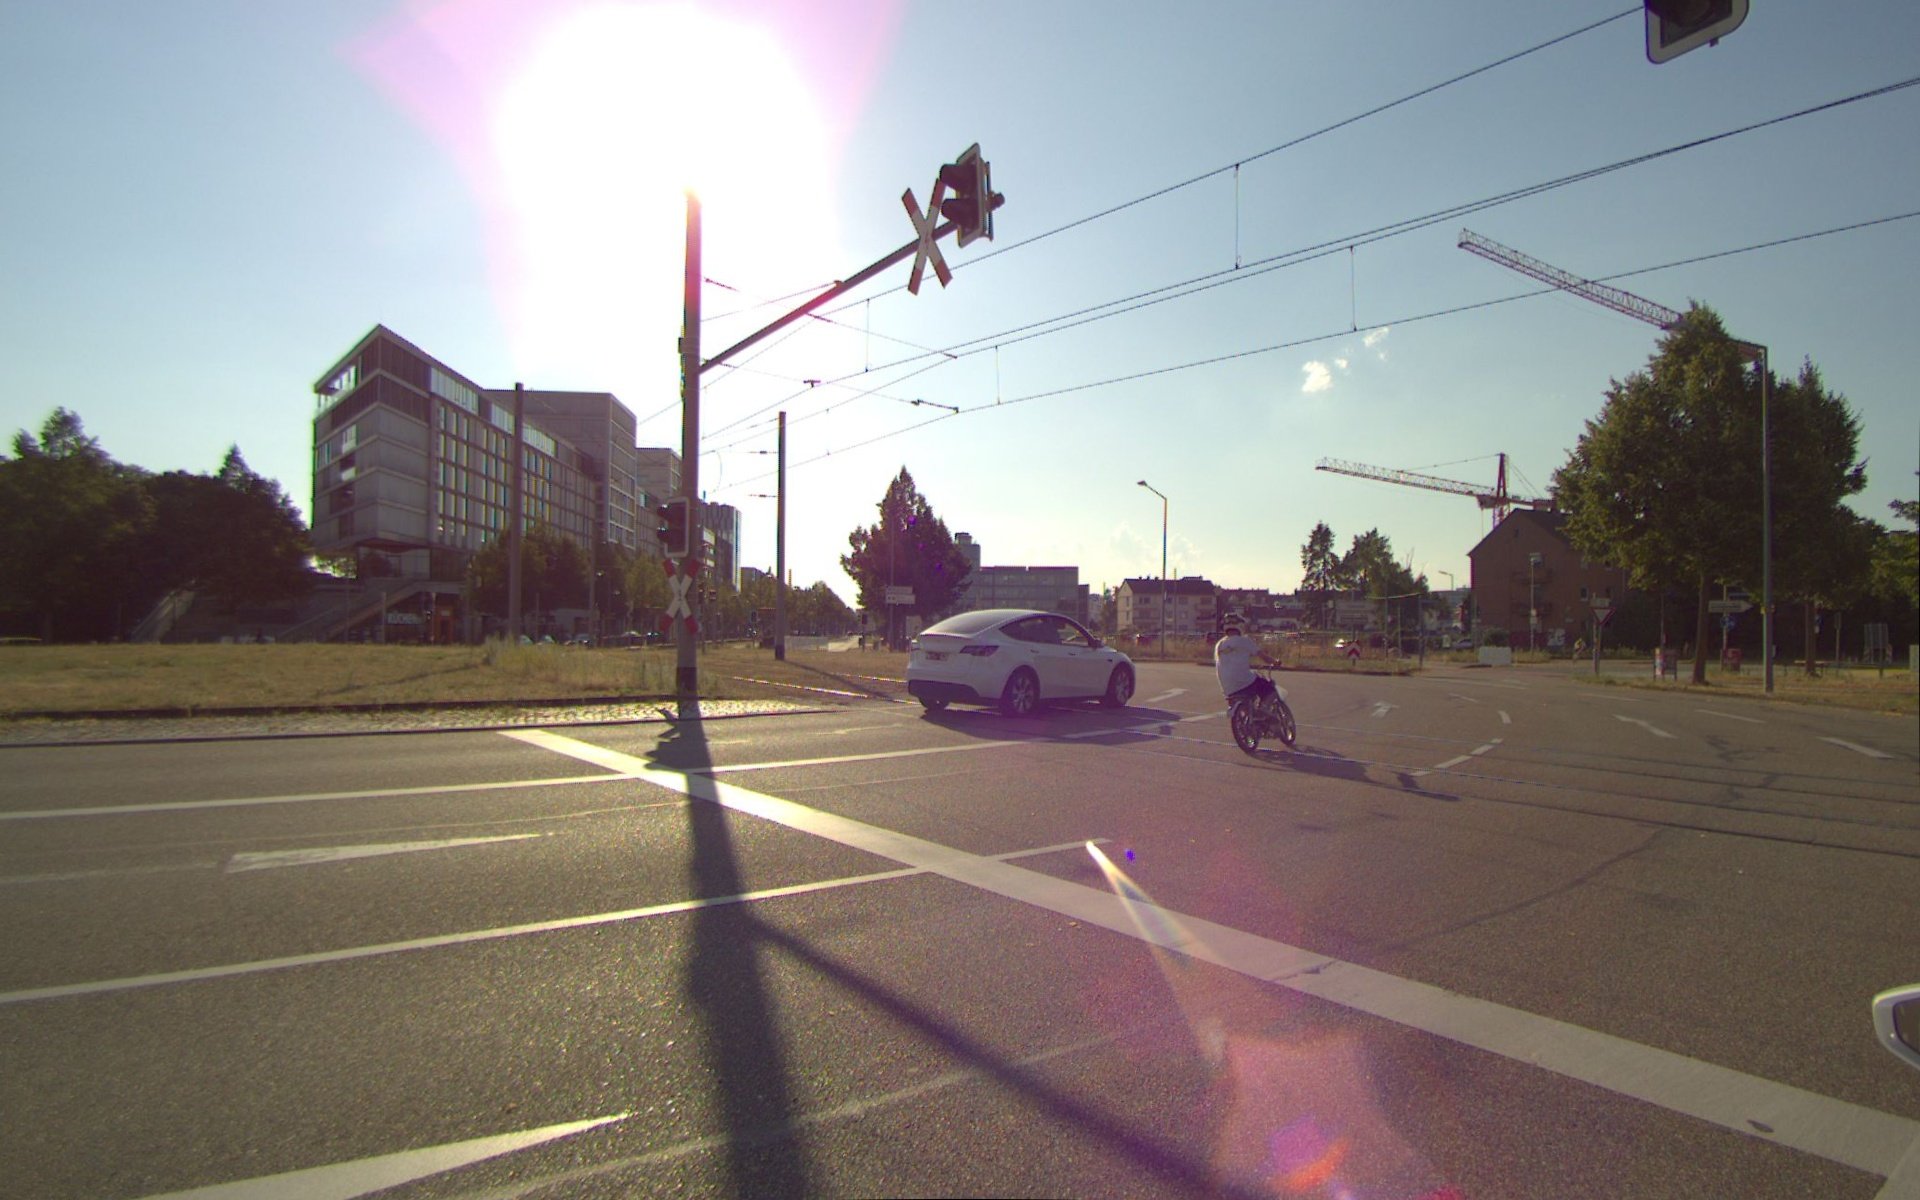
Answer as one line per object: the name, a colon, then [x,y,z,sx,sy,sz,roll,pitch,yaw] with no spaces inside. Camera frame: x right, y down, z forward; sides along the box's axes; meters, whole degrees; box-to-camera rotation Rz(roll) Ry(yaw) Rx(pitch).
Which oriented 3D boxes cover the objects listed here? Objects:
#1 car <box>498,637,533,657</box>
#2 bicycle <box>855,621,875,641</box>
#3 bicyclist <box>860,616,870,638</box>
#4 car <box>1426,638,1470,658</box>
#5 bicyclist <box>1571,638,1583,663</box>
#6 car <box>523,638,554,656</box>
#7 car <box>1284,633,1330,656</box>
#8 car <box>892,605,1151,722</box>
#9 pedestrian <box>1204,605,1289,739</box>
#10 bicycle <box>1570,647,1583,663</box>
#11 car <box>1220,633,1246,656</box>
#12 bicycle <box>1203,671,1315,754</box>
car: [-36.140,3.798,81.649,1.455,1.495,3.299,0,-1,-2]
bicycle: [-7.320,2.383,77.510,1.514,1.493,0.479,0,-2,21]
bicyclist: [-7.330,2.082,77.534,0.597,1.694,0.478,0,-2,21]
car: [49.654,4.878,102.281,1.652,2.040,3.791,2,-2,-30]
bicyclist: [40.014,3.260,65.166,0.648,1.583,0.893,0,-2,29]
car: [-37.092,4.155,88.476,1.455,1.495,3.299,0,-1,-2]
car: [31.657,4.052,91.735,1.652,2.040,3.791,2,-2,-30]
car: [1.160,0.960,16.434,1.715,1.620,4.653,1,-1,41]
pedestrian: [3.451,0.845,12.097,0.848,1.539,0.649,1,-2,-44]
bicycle: [39.871,3.562,64.978,0.588,0.976,2.102,0,-2,29]
car: [22.763,3.678,83.887,1.886,1.878,4.003,0,-1,12]
bicycle: [3.638,1.324,12.133,1.844,0.887,0.473,3,-2,-45]
